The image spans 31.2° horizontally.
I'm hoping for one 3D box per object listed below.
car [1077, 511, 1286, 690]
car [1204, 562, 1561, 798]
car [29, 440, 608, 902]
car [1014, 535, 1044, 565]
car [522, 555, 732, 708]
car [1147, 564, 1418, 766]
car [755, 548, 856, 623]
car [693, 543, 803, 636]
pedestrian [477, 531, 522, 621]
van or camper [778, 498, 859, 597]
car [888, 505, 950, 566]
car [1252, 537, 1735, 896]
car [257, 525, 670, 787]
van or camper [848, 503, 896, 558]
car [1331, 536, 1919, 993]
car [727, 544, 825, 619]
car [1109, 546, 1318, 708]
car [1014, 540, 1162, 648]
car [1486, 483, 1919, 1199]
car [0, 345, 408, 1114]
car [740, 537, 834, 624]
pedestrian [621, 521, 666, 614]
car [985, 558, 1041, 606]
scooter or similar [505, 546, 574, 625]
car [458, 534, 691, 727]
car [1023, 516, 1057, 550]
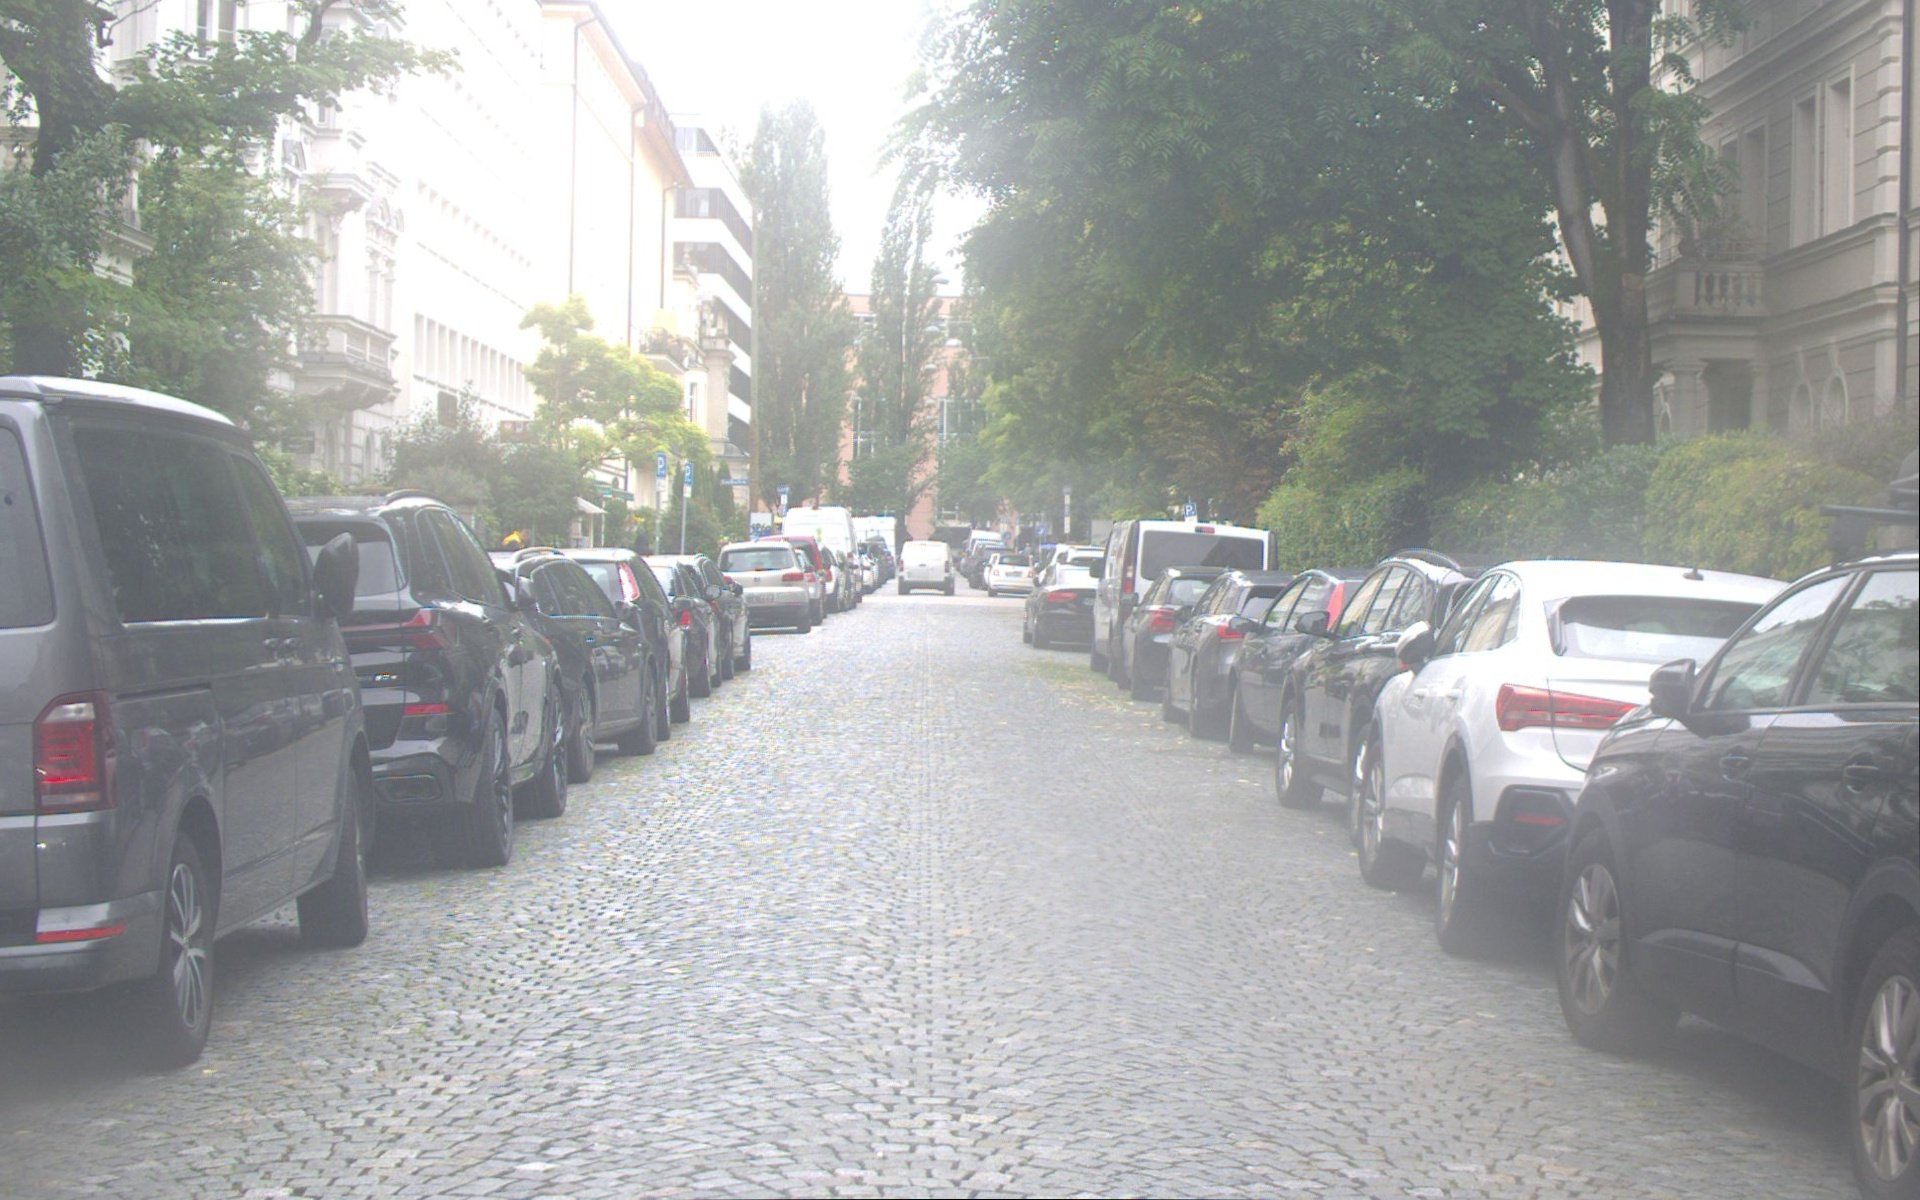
[{"bbox_3d":[2.631,-0.036,42.060,1.873,1.921,5.165,4,1,-3],"label":"car"},{"bbox_3d":[2.984,0.517,25.097,1.694,1.435,4.062,4,1,-5],"label":"car"},{"bbox_3d":[-3.000,0.269,17.267,1.993,1.910,5.178,-2,1,-1],"label":"car"},{"bbox_3d":[4.892,-3.531,243.351,1.993,2.007,4.000,2,0,0],"label":"car"},{"bbox_3d":[-3.333,0.272,35.129,1.783,1.412,4.497,-2,1,-2],"label":"car"},{"bbox_3d":[2.680,0.495,29.486,1.713,1.467,4.269,4,1,-2],"label":"car"},{"bbox_3d":[-3.555,-0.346,79.836,1.873,1.574,4.207,4,1,3],"label":"car"},{"bbox_3d":[-3.795,-0.217,62.019,1.873,1.574,4.256,-1,1,-2],"label":"car"},{"bbox_3d":[-8.698,-0.452,64.902,0.717,1.682,0.695,2,1,-1],"label":"pedestrian"},{"bbox_3d":[-3.879,-1.436,94.776,1.993,2.643,4.000,-1,1,0],"label":"van or camper"},{"bbox_3d":[-1.383,-2.188,117.599,1.993,2.007,4.000,2,1,0],"label":"car"},{"bbox_3d":[2.860,0.554,19.485,1.873,1.664,4.657,4,1,0],"label":"car"},{"bbox_3d":[-3.159,0.299,22.906,1.978,1.556,5.017,0,1,1],"label":"car"},{"bbox_3d":[-4.575,-3.609,179.321,2.256,2.733,5.098,2,1,0],"label":"van or camper"},{"bbox_3d":[2.730,0.540,14.357,1.873,1.485,4.617,4,1,1],"label":"car"},{"bbox_3d":[-3.625,-0.389,68.105,1.873,1.446,4.208,0,1,-2],"label":"car"},{"bbox_3d":[2.632,0.251,36.591,1.837,1.485,4.421,4,1,0],"label":"car"},{"bbox_3d":[1.974,-0.122,54.292,1.873,1.498,4.512,4,1,-3],"label":"car"},{"bbox_3d":[2.909,0.657,9.373,1.873,1.729,4.748,5,1,-3],"label":"car"},{"bbox_3d":[-3.042,0.299,10.945,1.873,1.910,4.828,-1,1,-1],"label":"car"},{"bbox_3d":[-3.712,-0.437,74.396,1.873,1.770,4.123,-2,1,-1],"label":"car"},{"bbox_3d":[-6.605,-0.680,71.695,0.792,1.911,0.759,3,1,-1],"label":"pedestrian"},{"bbox_3d":[1.779,-0.625,115.908,1.790,1.515,4.000,2,1,0],"label":"car"},{"bbox_3d":[-7.858,-0.284,64.392,0.941,1.437,2.657,2,1,0],"label":"scooter or similar"},{"bbox_3d":[-3.060,0.205,27.938,1.662,1.439,4.172,0,1,-3],"label":"car"},{"bbox_3d":[5.092,-4.252,218.759,1.993,2.007,4.000,2,0,0],"label":"car"}]
